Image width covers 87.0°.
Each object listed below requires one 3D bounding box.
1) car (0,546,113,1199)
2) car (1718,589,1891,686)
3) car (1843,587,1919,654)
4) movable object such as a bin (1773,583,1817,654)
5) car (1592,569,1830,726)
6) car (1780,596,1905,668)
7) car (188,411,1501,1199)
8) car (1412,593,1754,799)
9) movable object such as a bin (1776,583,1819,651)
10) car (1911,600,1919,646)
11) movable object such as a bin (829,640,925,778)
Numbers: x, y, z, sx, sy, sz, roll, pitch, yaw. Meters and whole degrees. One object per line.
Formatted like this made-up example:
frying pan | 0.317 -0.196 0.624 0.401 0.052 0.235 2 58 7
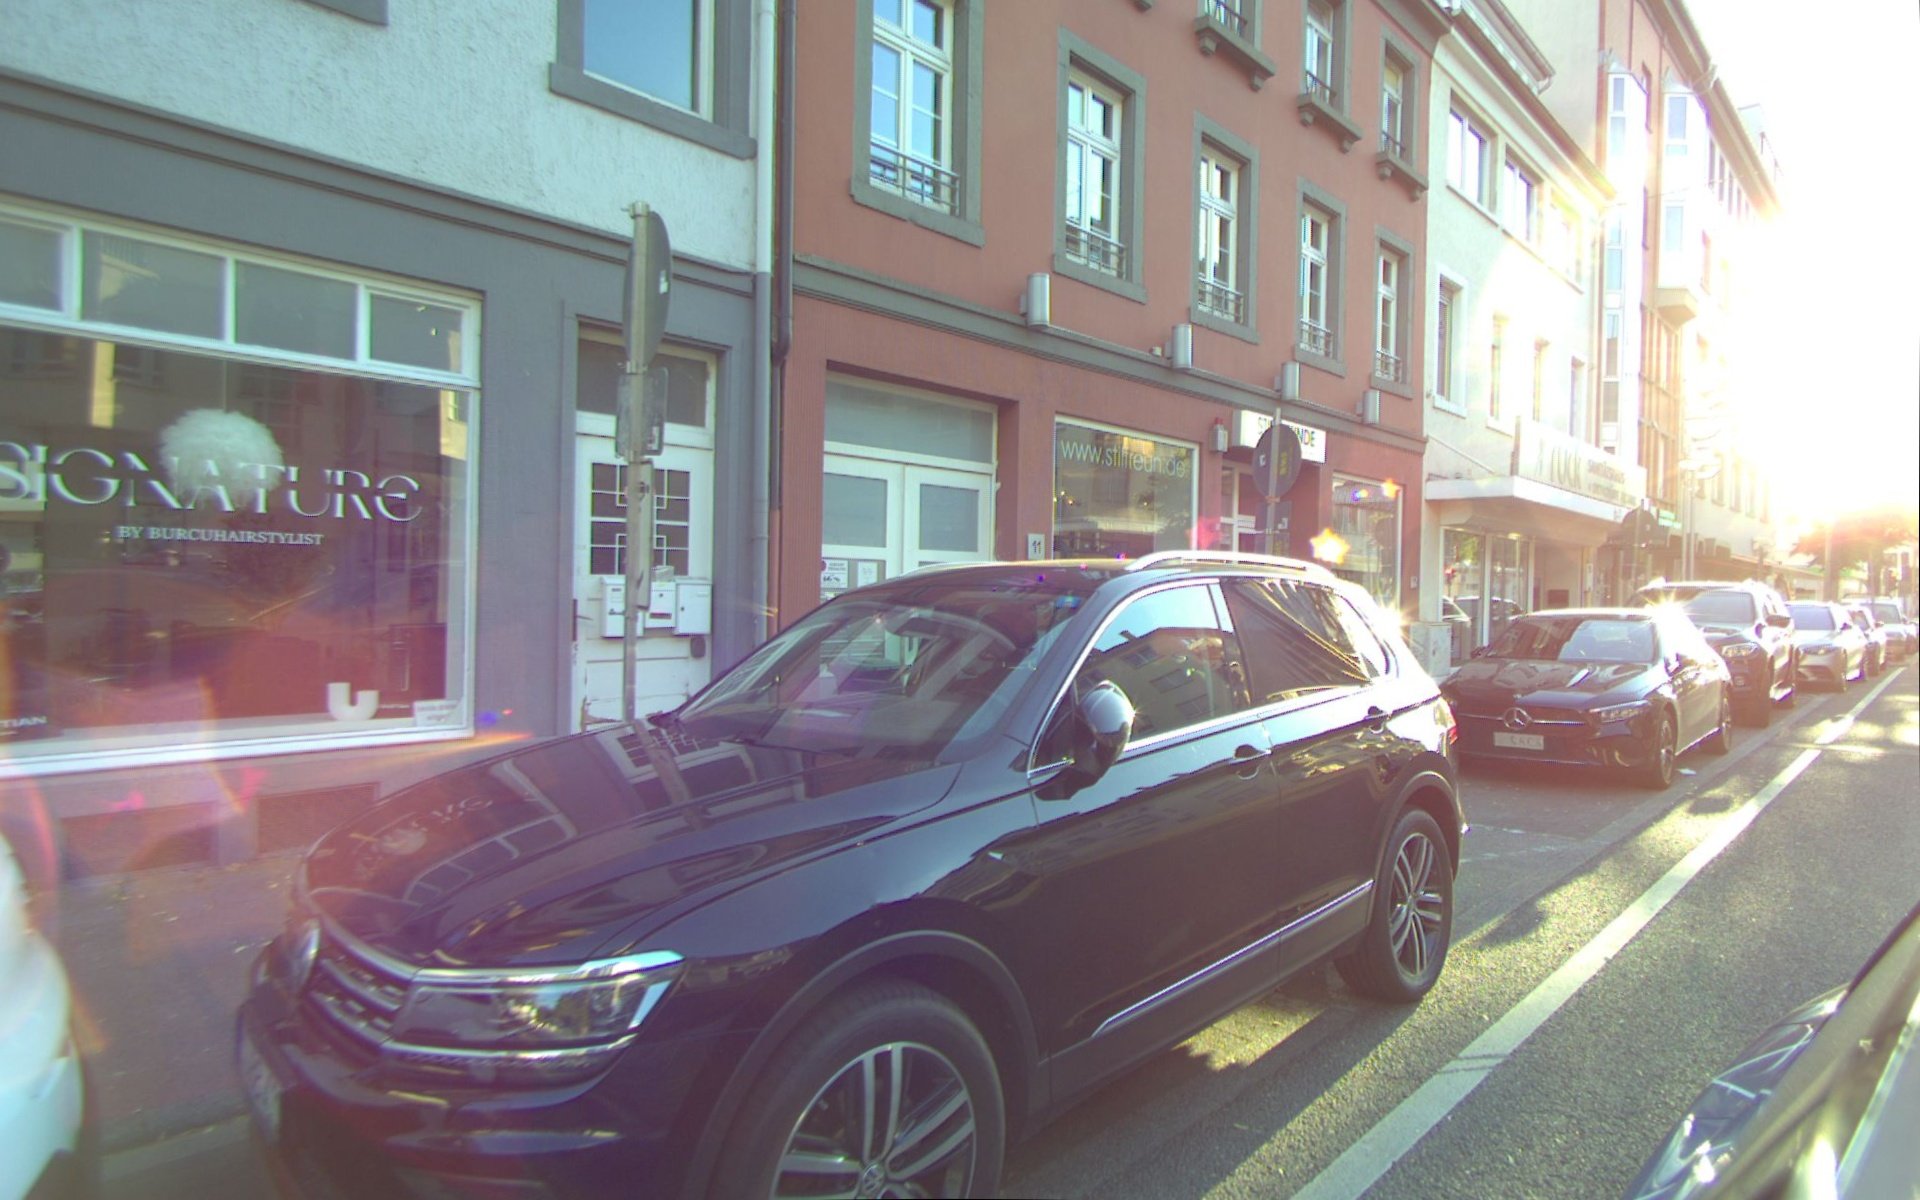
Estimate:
car | -2.994 0.647 0.603 3.739 1.396 1.668 -1 1 -44
car | 15.609 0.587 18.606 4.908 1.546 1.814 -1 1 -42
car | 26.424 0.554 28.965 1.654 1.801 3.949 0 -1 43
movable object such as a bin | 21.957 0.463 26.603 0.834 1.796 1.333 0 0 42
car | 10.424 0.510 13.884 4.976 1.776 1.884 -1 1 -45
car | 19.647 0.651 22.466 4.435 1.438 1.754 1 0 -44
car | 0.113 0.578 3.385 4.136 1.689 1.813 -1 1 -44
car | 6.038 0.693 9.584 4.235 1.502 1.763 -1 1 -44
movable object such as a bin | 22.808 0.449 27.563 0.834 1.796 1.187 0 0 42
car | 31.606 0.722 32.170 1.937 1.394 4.115 0 0 44
movable object such as a bin | -0.629 0.797 7.634 0.553 0.950 0.477 1 1 45
